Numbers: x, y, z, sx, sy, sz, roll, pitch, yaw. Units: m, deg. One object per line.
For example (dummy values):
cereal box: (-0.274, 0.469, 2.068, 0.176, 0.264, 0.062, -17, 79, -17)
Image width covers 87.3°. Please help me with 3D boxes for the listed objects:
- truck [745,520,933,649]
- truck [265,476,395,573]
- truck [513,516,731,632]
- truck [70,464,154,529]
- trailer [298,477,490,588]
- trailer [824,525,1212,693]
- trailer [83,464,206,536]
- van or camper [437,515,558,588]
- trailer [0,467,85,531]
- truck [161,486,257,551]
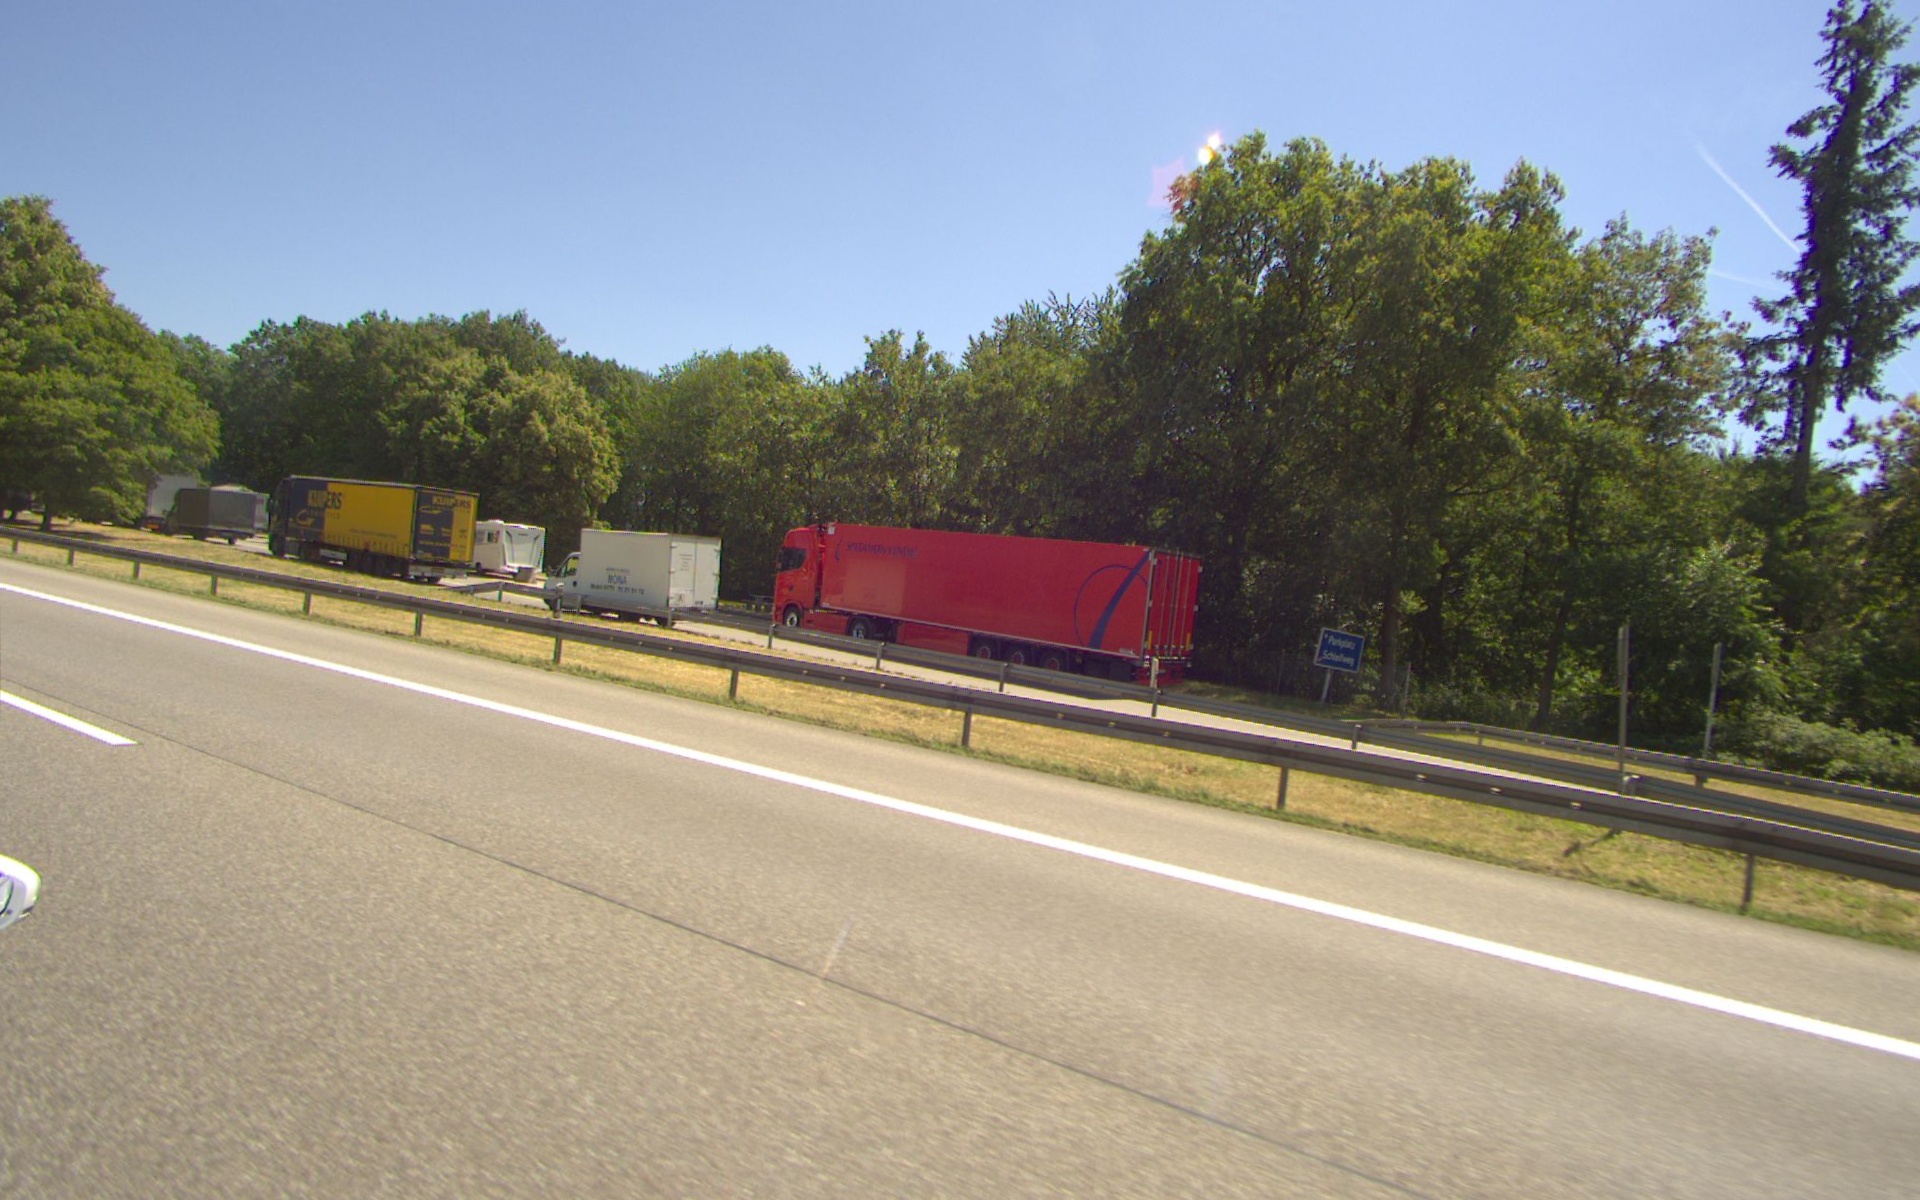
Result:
truck: (-4.493, -0.628, 36.540, 6.327, 3.929, 2.975, 7, 0, 41)
truck: (-30.636, -3.710, 48.823, 6.521, 3.982, 3.182, 6, -1, 40)
truck: (-11.321, -0.924, 33.368, 7.535, 2.981, 2.471, 6, -1, 33)
truck: (-59.375, -7.274, 70.416, 5.235, 3.835, 3.090, 7, -1, 36)
trailer: (-25.032, -3.094, 44.082, 11.383, 3.982, 3.182, 6, -1, 40)
trailer: (1.201, 0.028, 31.394, 12.711, 3.926, 2.974, 6, 0, 42)
trailer: (-53.966, -6.679, 66.356, 13.161, 3.835, 3.103, 6, -1, 38)
van or camper: (-25.296, -2.686, 54.896, 6.898, 3.275, 2.996, 6, 0, 39)
trailer: (-71.747, -7.904, 76.346, 13.950, 4.002, 3.141, 7, 1, 28)
truck: (-43.883, -4.780, 58.749, 6.515, 3.123, 2.469, 6, -1, 37)
